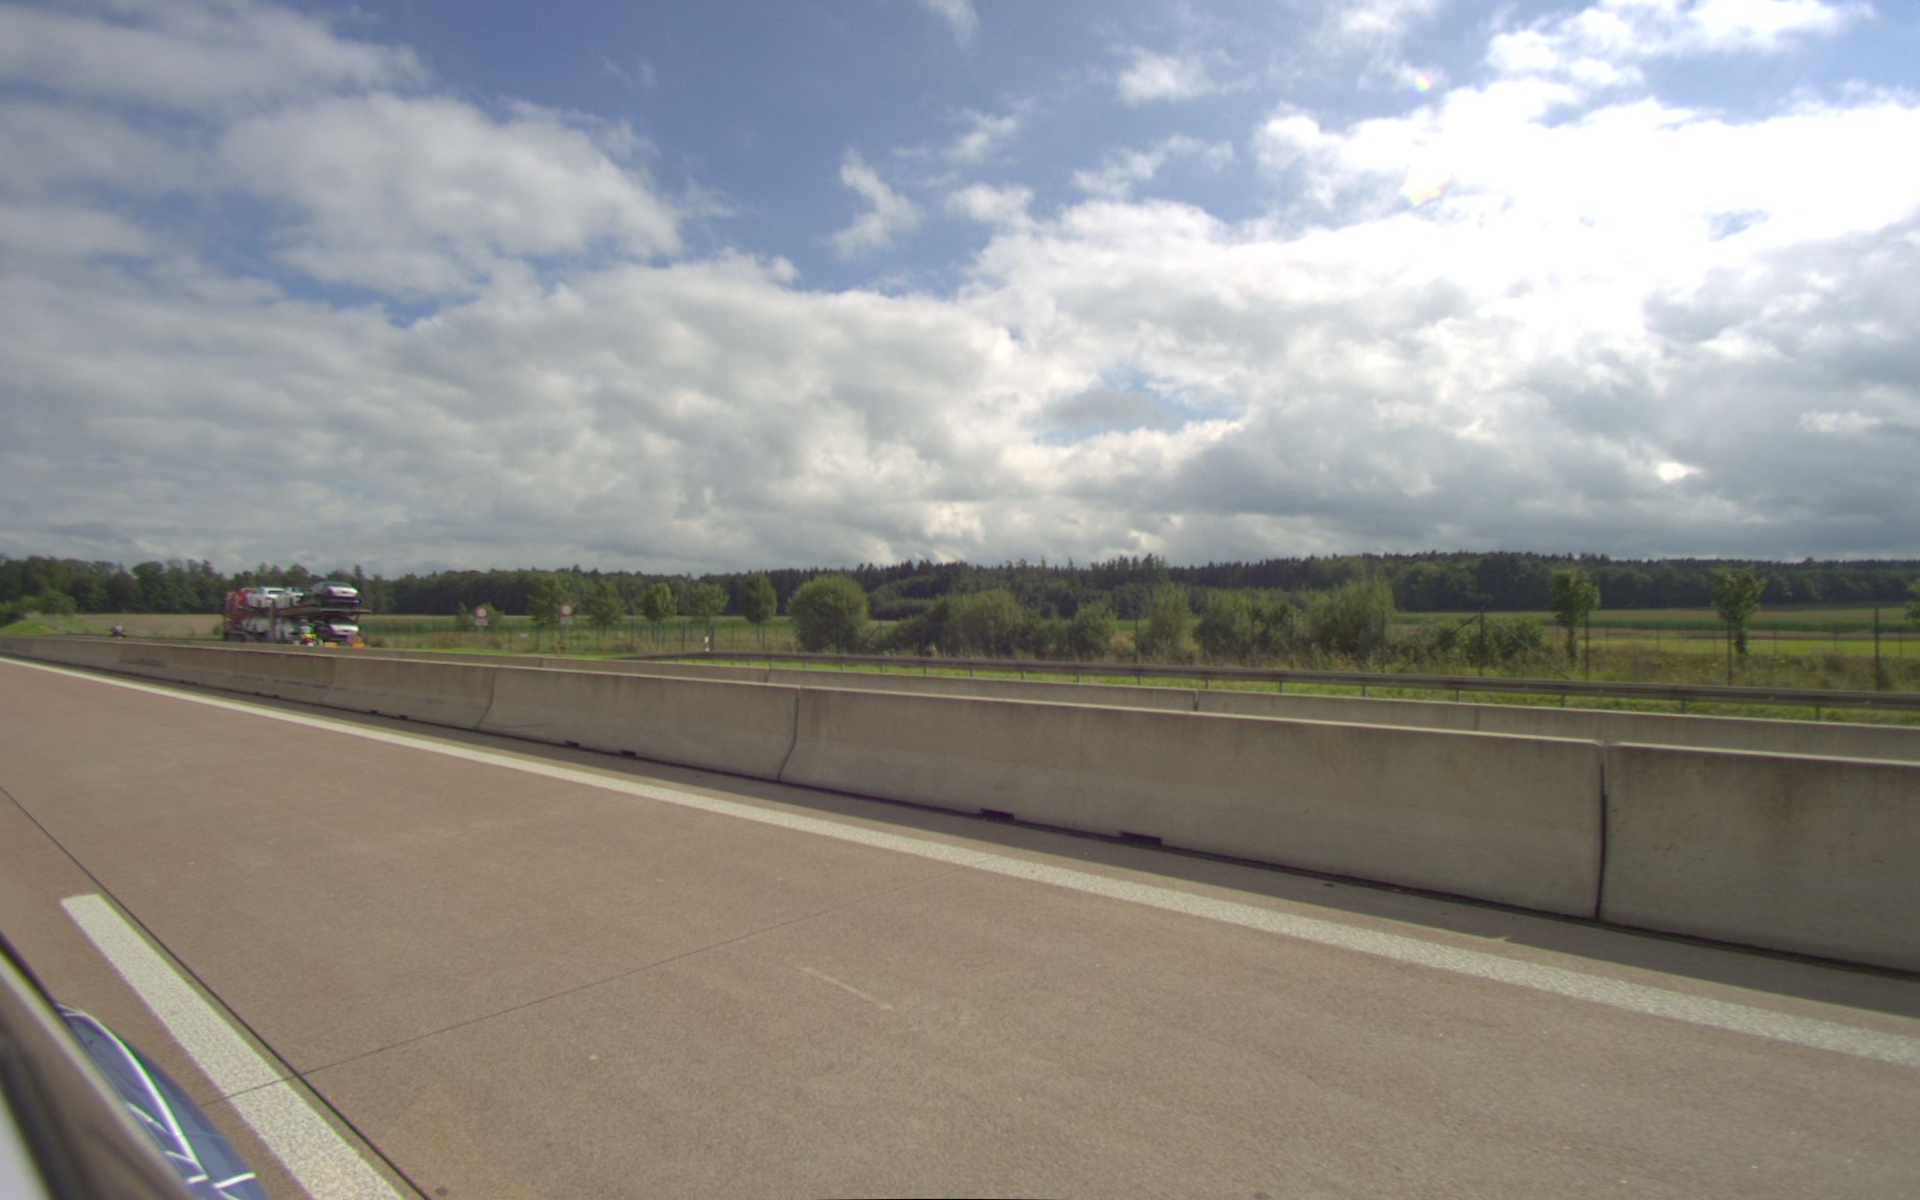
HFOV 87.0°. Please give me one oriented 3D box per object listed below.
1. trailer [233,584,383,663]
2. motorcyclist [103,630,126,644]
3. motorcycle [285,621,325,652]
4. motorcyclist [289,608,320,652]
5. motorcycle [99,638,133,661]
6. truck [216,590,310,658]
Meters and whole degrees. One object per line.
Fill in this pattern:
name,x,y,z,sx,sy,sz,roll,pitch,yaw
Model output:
trailer,-37.712,1.334,58.051,16.322,4.008,3.160,-1,0,42
motorcyclist,-61.661,2.711,73.815,0.839,0.956,1.173,-1,0,41
motorcycle,-29.103,1.628,44.962,2.342,1.313,0.917,-1,0,42
motorcyclist,-29.139,1.328,44.982,0.744,1.875,0.998,-1,0,43
motorcycle,-61.616,3.588,73.868,2.840,1.554,1.537,-1,0,42
truck,-44.008,1.499,63.806,7.728,4.008,3.160,-1,0,42
